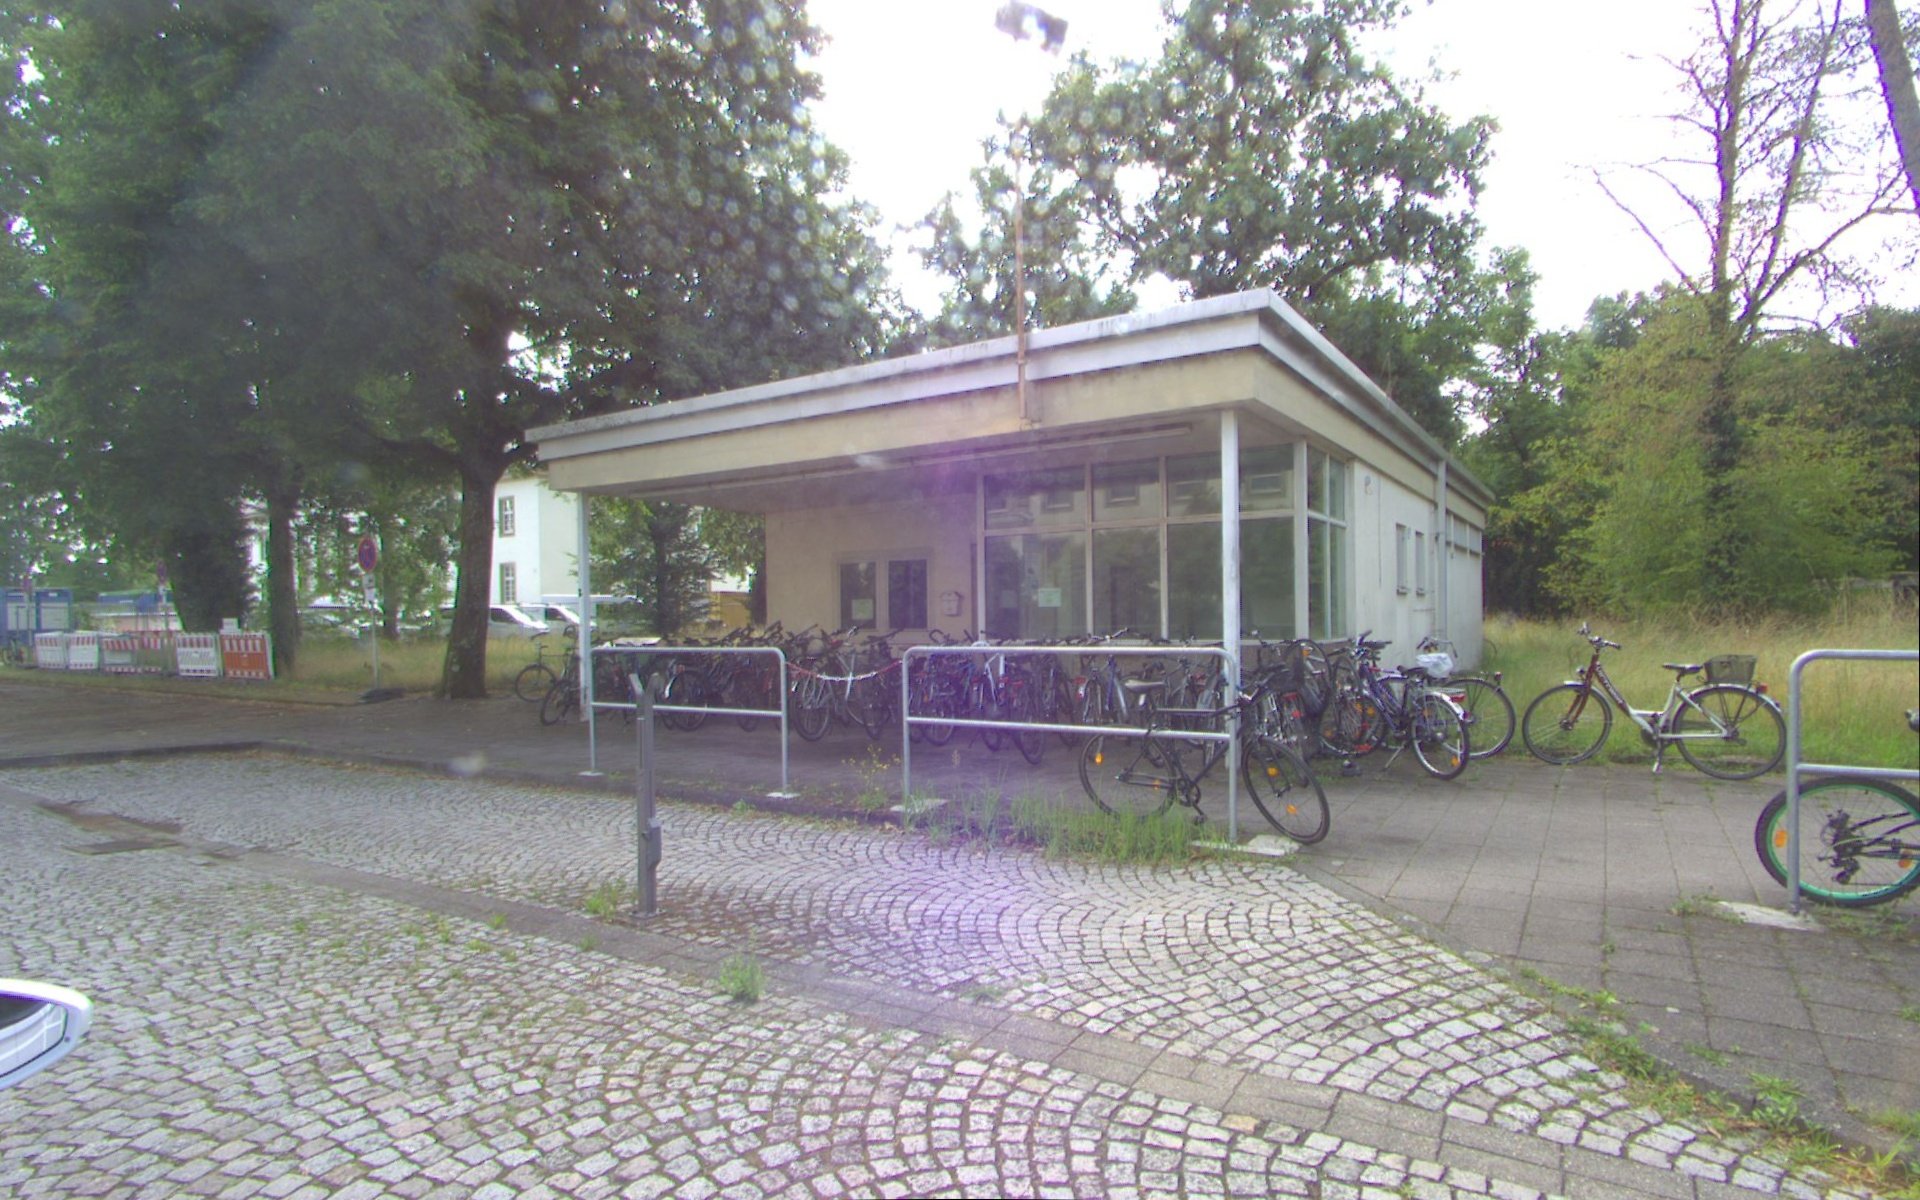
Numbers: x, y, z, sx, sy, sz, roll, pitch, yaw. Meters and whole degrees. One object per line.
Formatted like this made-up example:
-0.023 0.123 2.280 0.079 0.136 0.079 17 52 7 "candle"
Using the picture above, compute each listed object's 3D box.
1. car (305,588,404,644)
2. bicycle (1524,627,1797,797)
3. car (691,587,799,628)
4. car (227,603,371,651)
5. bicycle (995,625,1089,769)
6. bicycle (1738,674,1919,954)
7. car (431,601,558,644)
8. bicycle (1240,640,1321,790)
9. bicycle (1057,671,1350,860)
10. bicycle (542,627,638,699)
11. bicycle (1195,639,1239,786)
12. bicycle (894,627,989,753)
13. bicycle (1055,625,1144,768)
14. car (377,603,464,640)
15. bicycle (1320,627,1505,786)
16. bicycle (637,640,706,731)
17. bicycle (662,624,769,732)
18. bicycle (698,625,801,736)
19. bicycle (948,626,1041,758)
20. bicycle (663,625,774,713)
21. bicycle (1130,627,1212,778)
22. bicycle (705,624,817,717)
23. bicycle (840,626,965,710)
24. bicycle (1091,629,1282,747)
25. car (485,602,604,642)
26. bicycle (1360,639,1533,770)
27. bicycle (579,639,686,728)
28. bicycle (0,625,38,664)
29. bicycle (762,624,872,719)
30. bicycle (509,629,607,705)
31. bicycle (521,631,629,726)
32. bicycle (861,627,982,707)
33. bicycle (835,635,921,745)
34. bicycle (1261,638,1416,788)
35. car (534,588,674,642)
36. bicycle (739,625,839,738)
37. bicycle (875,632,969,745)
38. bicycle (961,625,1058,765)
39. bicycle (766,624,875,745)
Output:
-29.680 0.852 49.005 5.830 2.588 1.988 -1 -2 35 "car"
5.325 0.791 7.677 1.660 1.153 0.644 -1 0 39 "bicycle"
-11.805 0.476 55.436 2.182 2.122 6.129 -1 -2 33 "car"
-28.346 1.108 43.089 1.880 1.946 4.847 1 0 33 "car"
0.796 0.847 9.316 0.320 1.156 1.612 0 1 25 "bicycle"
4.264 0.884 4.175 1.543 1.076 0.688 -1 0 33 "bicycle"
-20.736 1.038 44.681 4.780 1.848 2.001 0 -2 6 "car"
2.529 0.865 7.995 0.332 1.059 1.406 0 -1 6 "bicycle"
1.447 0.942 6.078 1.632 0.965 0.533 -2 0 33 "bicycle"
-6.160 1.022 16.645 1.611 1.132 0.595 -1 2 32 "bicycle"
2.077 0.872 8.143 0.282 1.076 1.153 0 0 12 "bicycle"
-0.159 0.898 10.528 0.320 1.156 1.590 0 1 25 "bicycle"
1.332 0.847 9.358 0.350 1.156 1.612 0 1 25 "bicycle"
-27.705 1.143 51.349 4.809 1.848 1.989 -1 -2 35 "car"
3.648 0.801 8.239 0.465 1.146 1.739 0 -1 -11 "bicycle"
-3.649 1.055 12.764 0.316 0.989 1.634 -1 1 3 "bicycle"
-3.039 0.940 12.596 0.465 1.206 1.631 -1 1 19 "bicycle"
-2.556 0.948 12.340 0.412 1.206 1.631 -1 1 20 "bicycle"
0.377 0.882 10.138 0.320 1.156 1.612 0 1 25 "bicycle"
-3.617 1.003 15.122 0.599 1.181 1.738 0 1 28 "bicycle"
1.907 0.853 8.931 0.350 1.156 1.612 0 1 25 "bicycle"
-2.837 0.977 14.459 0.599 1.181 1.738 0 1 28 "bicycle"
-0.797 0.925 13.788 1.652 1.090 0.479 -1 2 22 "bicycle"
2.259 0.846 10.079 1.806 1.090 0.489 -1 2 32 "bicycle"
-19.494 1.062 47.124 4.780 1.848 2.001 0 -2 6 "car"
4.229 0.873 8.778 0.400 1.023 1.348 -1 0 -34 "bicycle"
-4.285 1.069 13.245 0.744 0.989 1.745 -1 1 3 "bicycle"
-30.136 1.409 31.959 1.879 1.185 0.640 -1 0 35 "bicycle"
-1.980 0.963 14.120 0.599 1.181 1.738 0 1 28 "bicycle"
-6.468 1.055 16.098 1.611 1.132 0.595 -1 2 32 "bicycle"
-5.147 1.017 13.499 0.332 1.123 1.677 -1 1 19 "bicycle"
-0.552 0.943 14.307 1.652 1.090 0.479 -1 2 22 "bicycle"
-0.882 0.960 11.182 0.328 1.064 1.631 -1 1 18 "bicycle"
3.052 0.860 8.240 0.446 1.059 1.750 0 -1 -6 "bicycle"
-17.671 0.779 49.840 6.297 2.611 2.001 0 -1 3 "car"
-2.023 0.936 12.055 0.412 1.206 1.631 -1 1 20 "bicycle"
-0.381 0.924 10.917 0.320 1.064 1.590 0 1 25 "bicycle"
0.506 0.857 9.569 0.320 1.156 1.612 0 1 25 "bicycle"
-1.540 0.909 11.332 0.490 1.206 1.631 -1 1 20 "bicycle"
